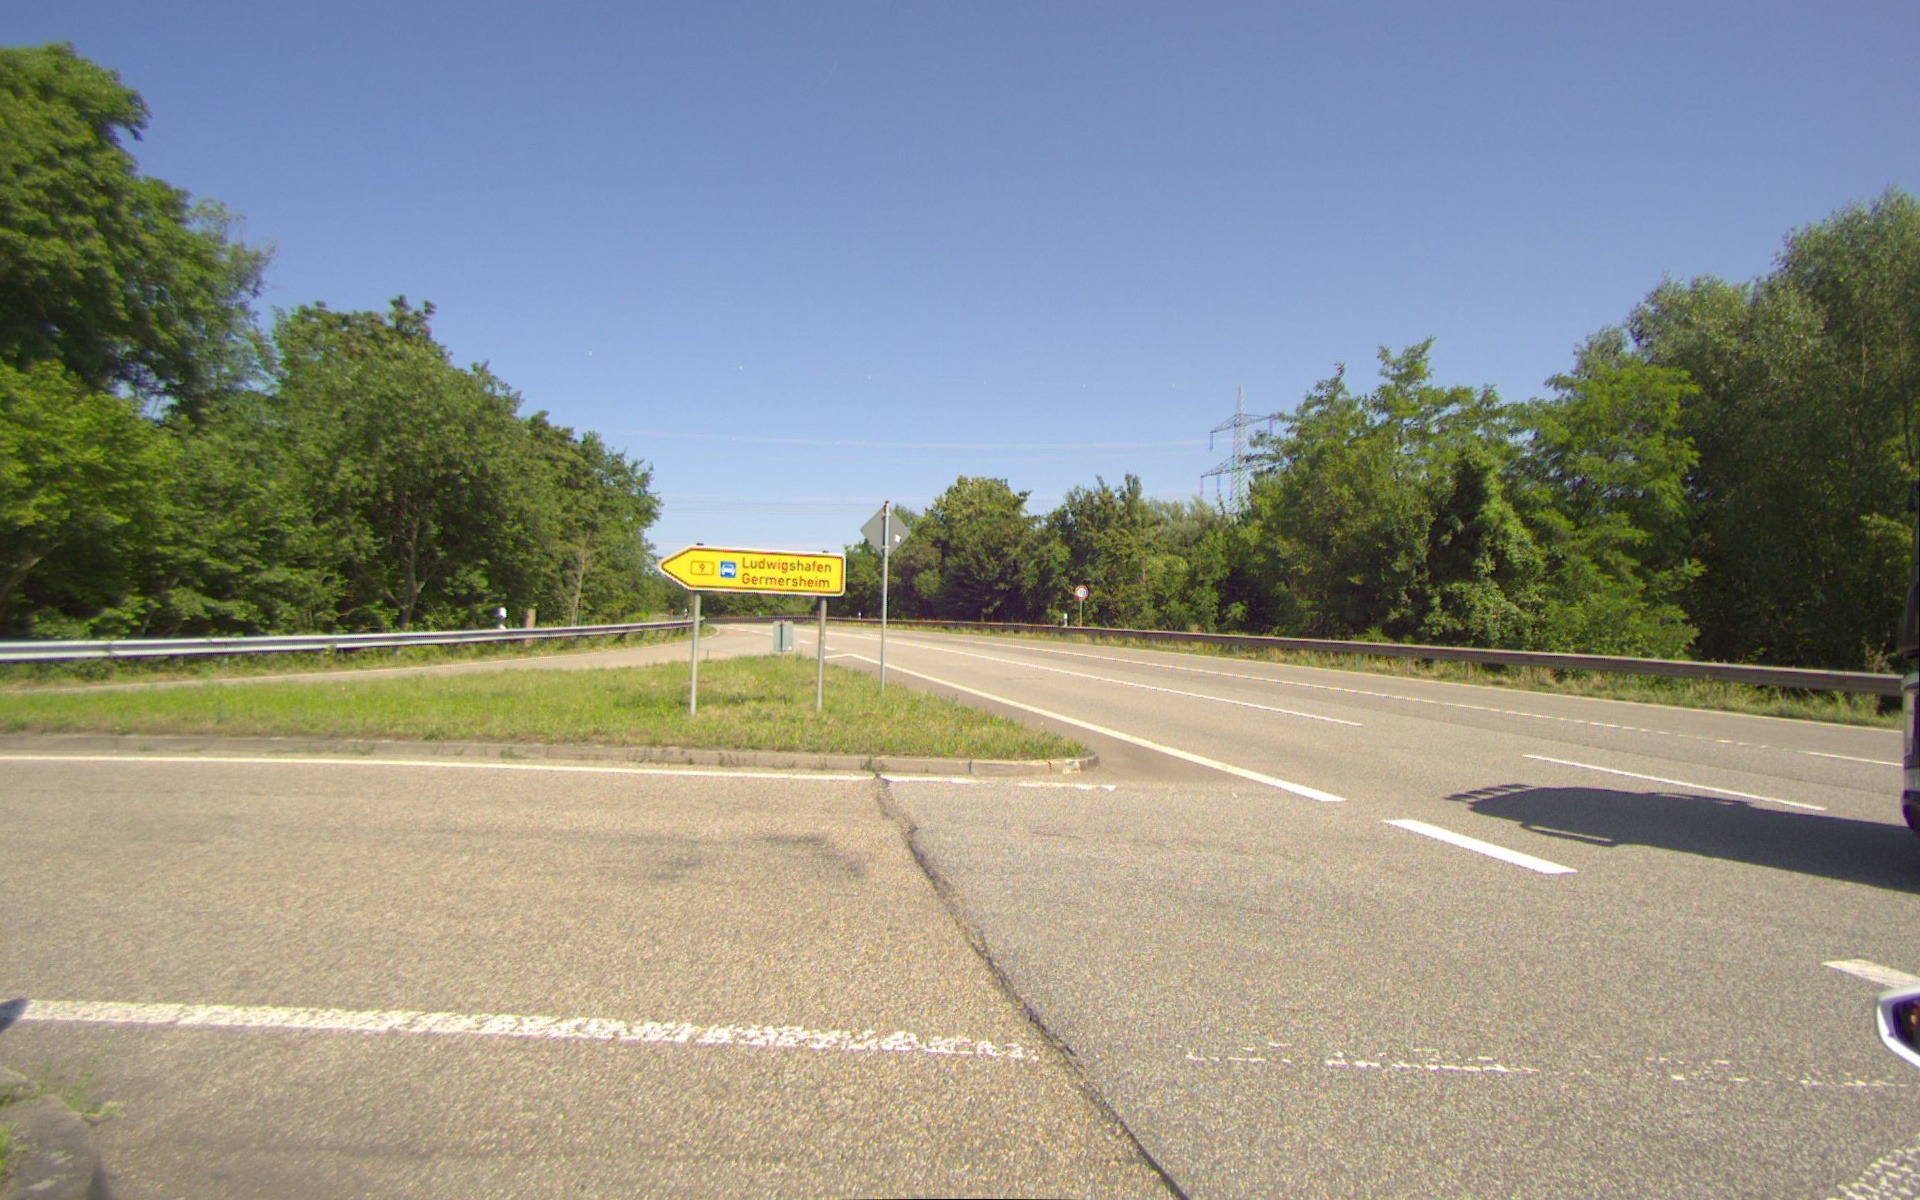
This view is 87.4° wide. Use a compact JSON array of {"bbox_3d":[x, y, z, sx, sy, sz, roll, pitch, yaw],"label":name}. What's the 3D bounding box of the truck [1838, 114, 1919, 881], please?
[{"bbox_3d":[8.021,-0.511,4.341,2.855,4.229,5.905,1,0,-38],"label":"truck"}]
